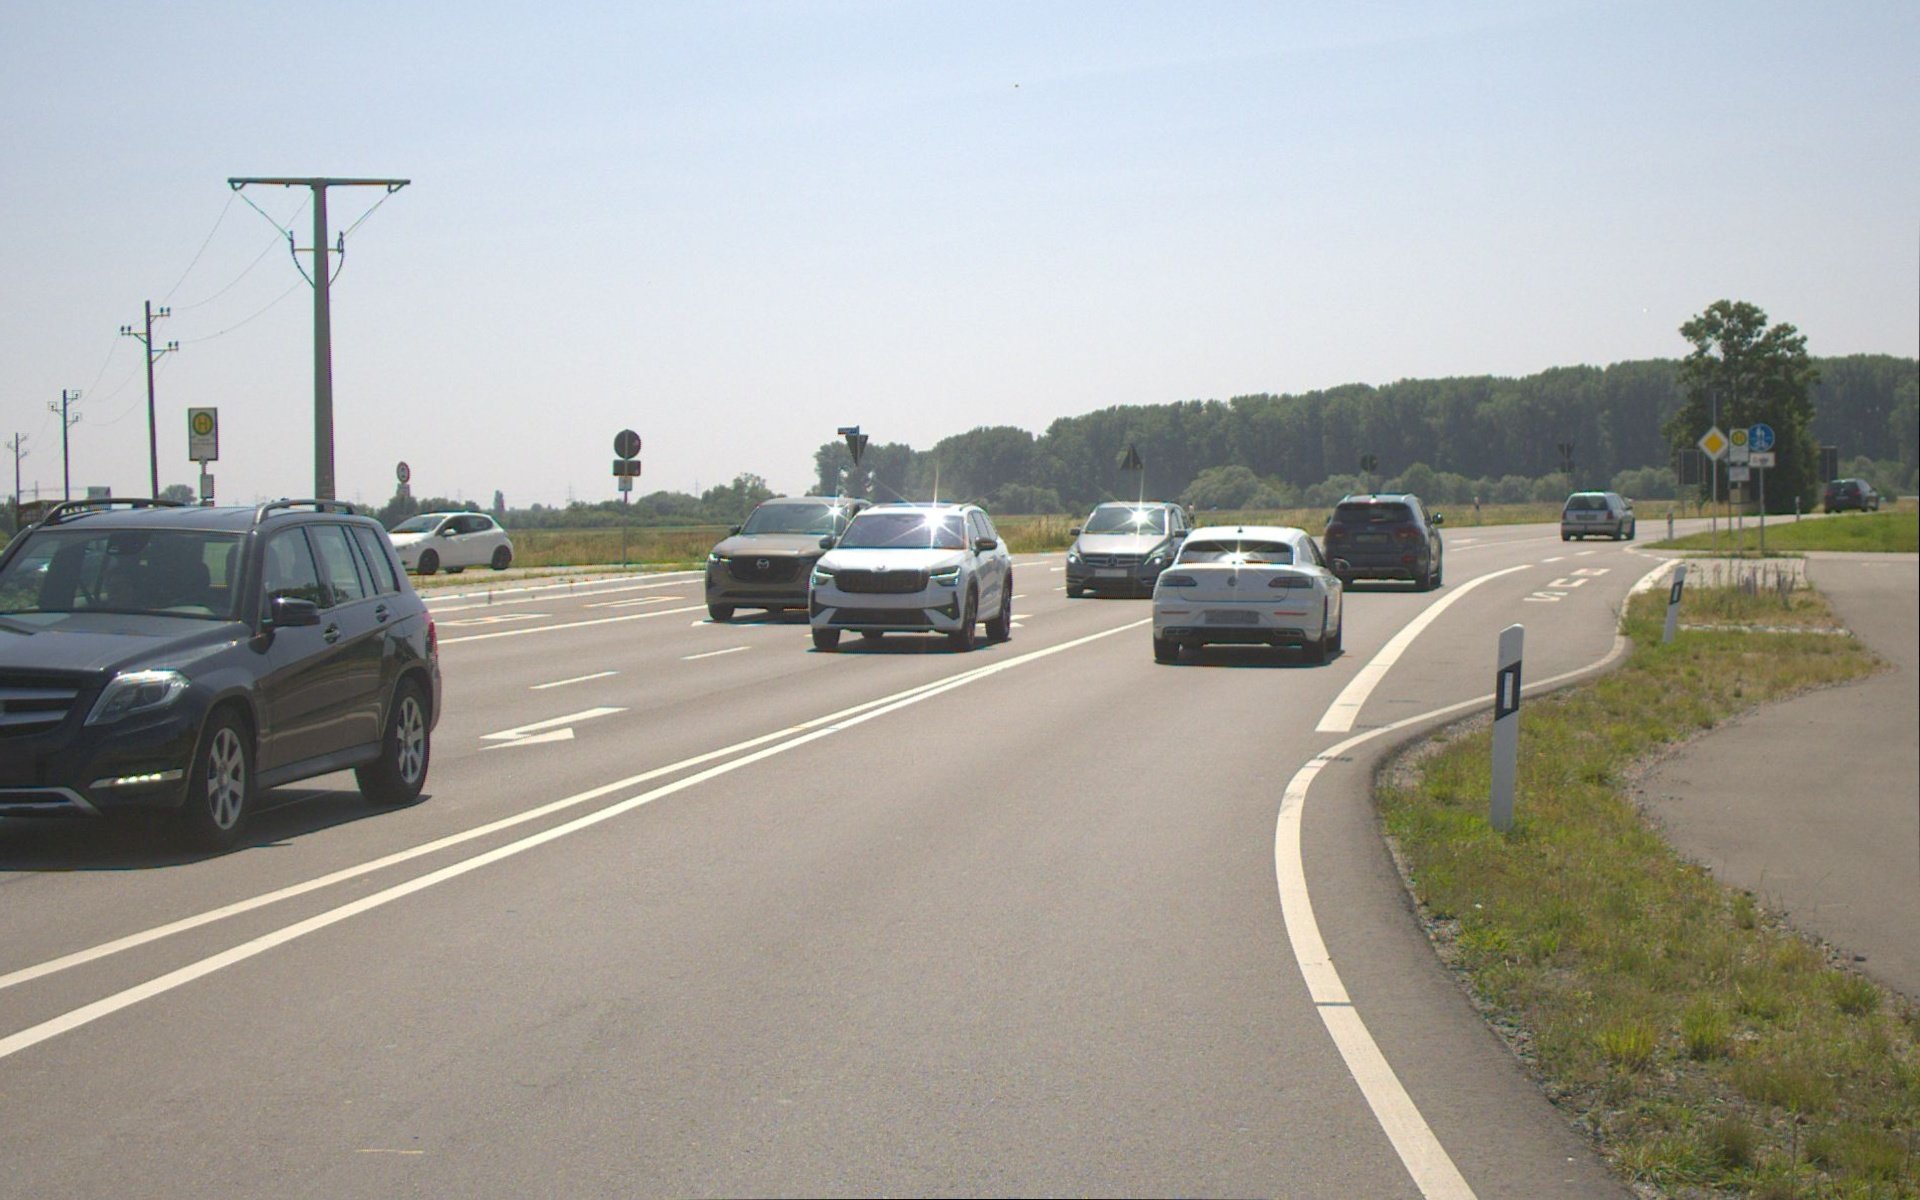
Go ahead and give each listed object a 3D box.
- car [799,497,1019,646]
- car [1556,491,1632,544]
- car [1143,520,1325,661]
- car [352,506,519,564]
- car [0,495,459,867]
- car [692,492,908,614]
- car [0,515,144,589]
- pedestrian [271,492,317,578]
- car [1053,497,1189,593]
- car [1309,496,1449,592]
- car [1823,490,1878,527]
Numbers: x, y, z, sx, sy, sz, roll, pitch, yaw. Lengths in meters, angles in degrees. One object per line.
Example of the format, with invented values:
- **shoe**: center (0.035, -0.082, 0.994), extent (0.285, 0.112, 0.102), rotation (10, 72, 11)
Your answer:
- **car**: center (-0.532, -0.373, 40.829), extent (1.879, 1.645, 4.842), rotation (1, 1, 8)
- **car**: center (18.749, -2.430, 101.565), extent (1.801, 1.424, 4.089), rotation (1, 0, 16)
- **car**: center (3.056, -0.121, 37.595), extent (1.848, 1.428, 4.607), rotation (1, 1, 6)
- **car**: center (-12.404, -1.544, 81.529), extent (1.694, 1.327, 4.030), rotation (1, 1, 32)
- **car**: center (-4.086, 0.305, 17.497), extent (1.866, 1.644, 4.326), rotation (0, 1, 8)
- **car**: center (-2.200, -0.705, 48.810), extent (1.962, 1.644, 4.787), rotation (0, 2, 11)
- **car**: center (-17.588, -0.940, 66.746), extent (1.675, 1.382, 3.836), rotation (1, 1, 17)
- **pedestrian**: center (-13.881, -1.364, 71.670), extent (0.609, 1.779, 0.845), rotation (1, 1, 19)
- **car**: center (2.768, -0.957, 58.207), extent (1.733, 1.550, 4.378), rotation (1, 2, 10)
- **car**: center (7.563, -0.978, 61.720), extent (1.936, 1.611, 4.375), rotation (-2, 0, 14)
- **car**: center (38.526, -3.941, 148.679), extent (1.801, 1.471, 4.410), rotation (-2, 0, 20)
